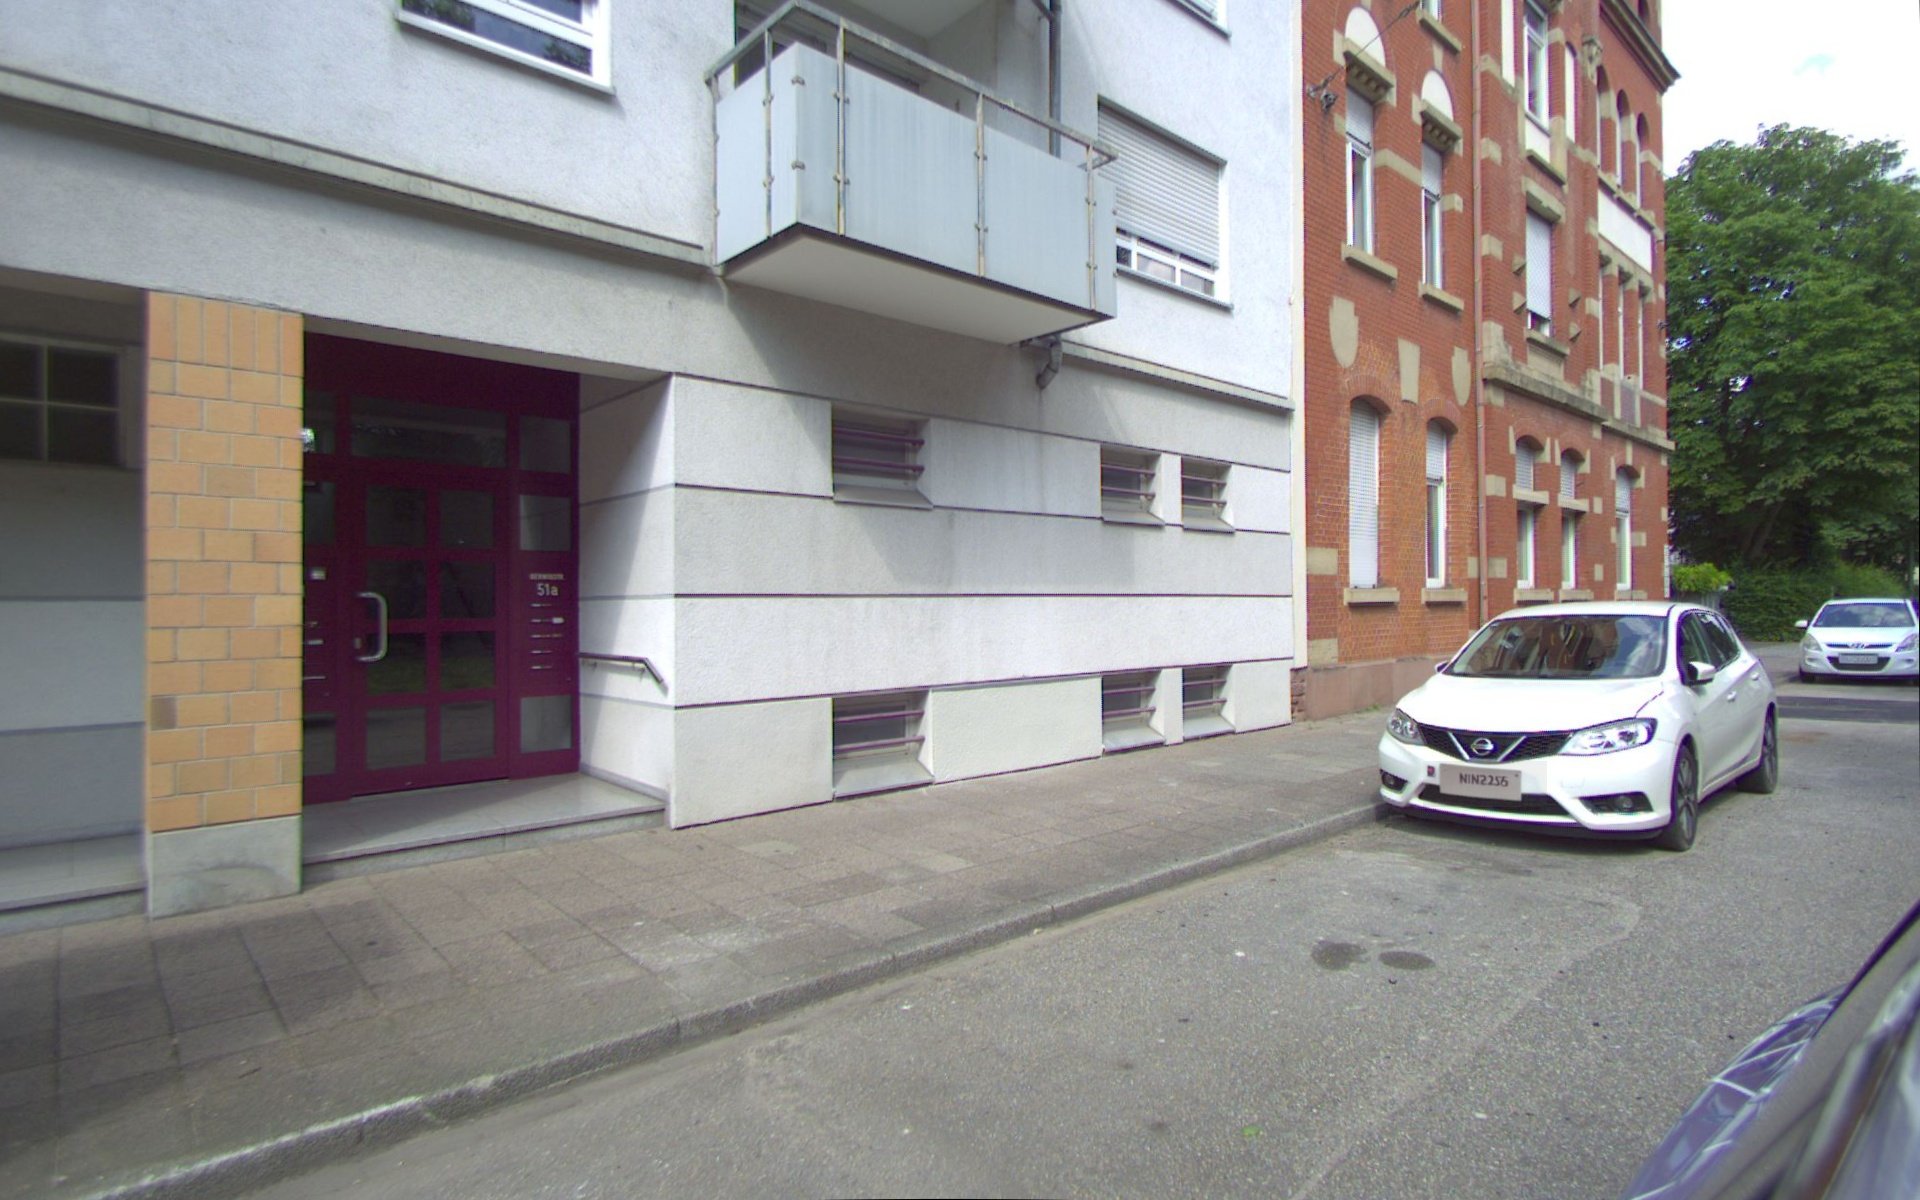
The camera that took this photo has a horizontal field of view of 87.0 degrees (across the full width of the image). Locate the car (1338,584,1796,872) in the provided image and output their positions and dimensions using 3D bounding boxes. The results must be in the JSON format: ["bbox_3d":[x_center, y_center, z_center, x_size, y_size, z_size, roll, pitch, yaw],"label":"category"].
[{"bbox_3d":[4.625,0.693,7.469,3.971,1.549,1.799,0,-1,-42],"label":"car"}]

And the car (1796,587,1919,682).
[{"bbox_3d":[16.596,0.559,18.208,3.972,1.549,1.799,-1,-1,-42],"label":"car"}]
